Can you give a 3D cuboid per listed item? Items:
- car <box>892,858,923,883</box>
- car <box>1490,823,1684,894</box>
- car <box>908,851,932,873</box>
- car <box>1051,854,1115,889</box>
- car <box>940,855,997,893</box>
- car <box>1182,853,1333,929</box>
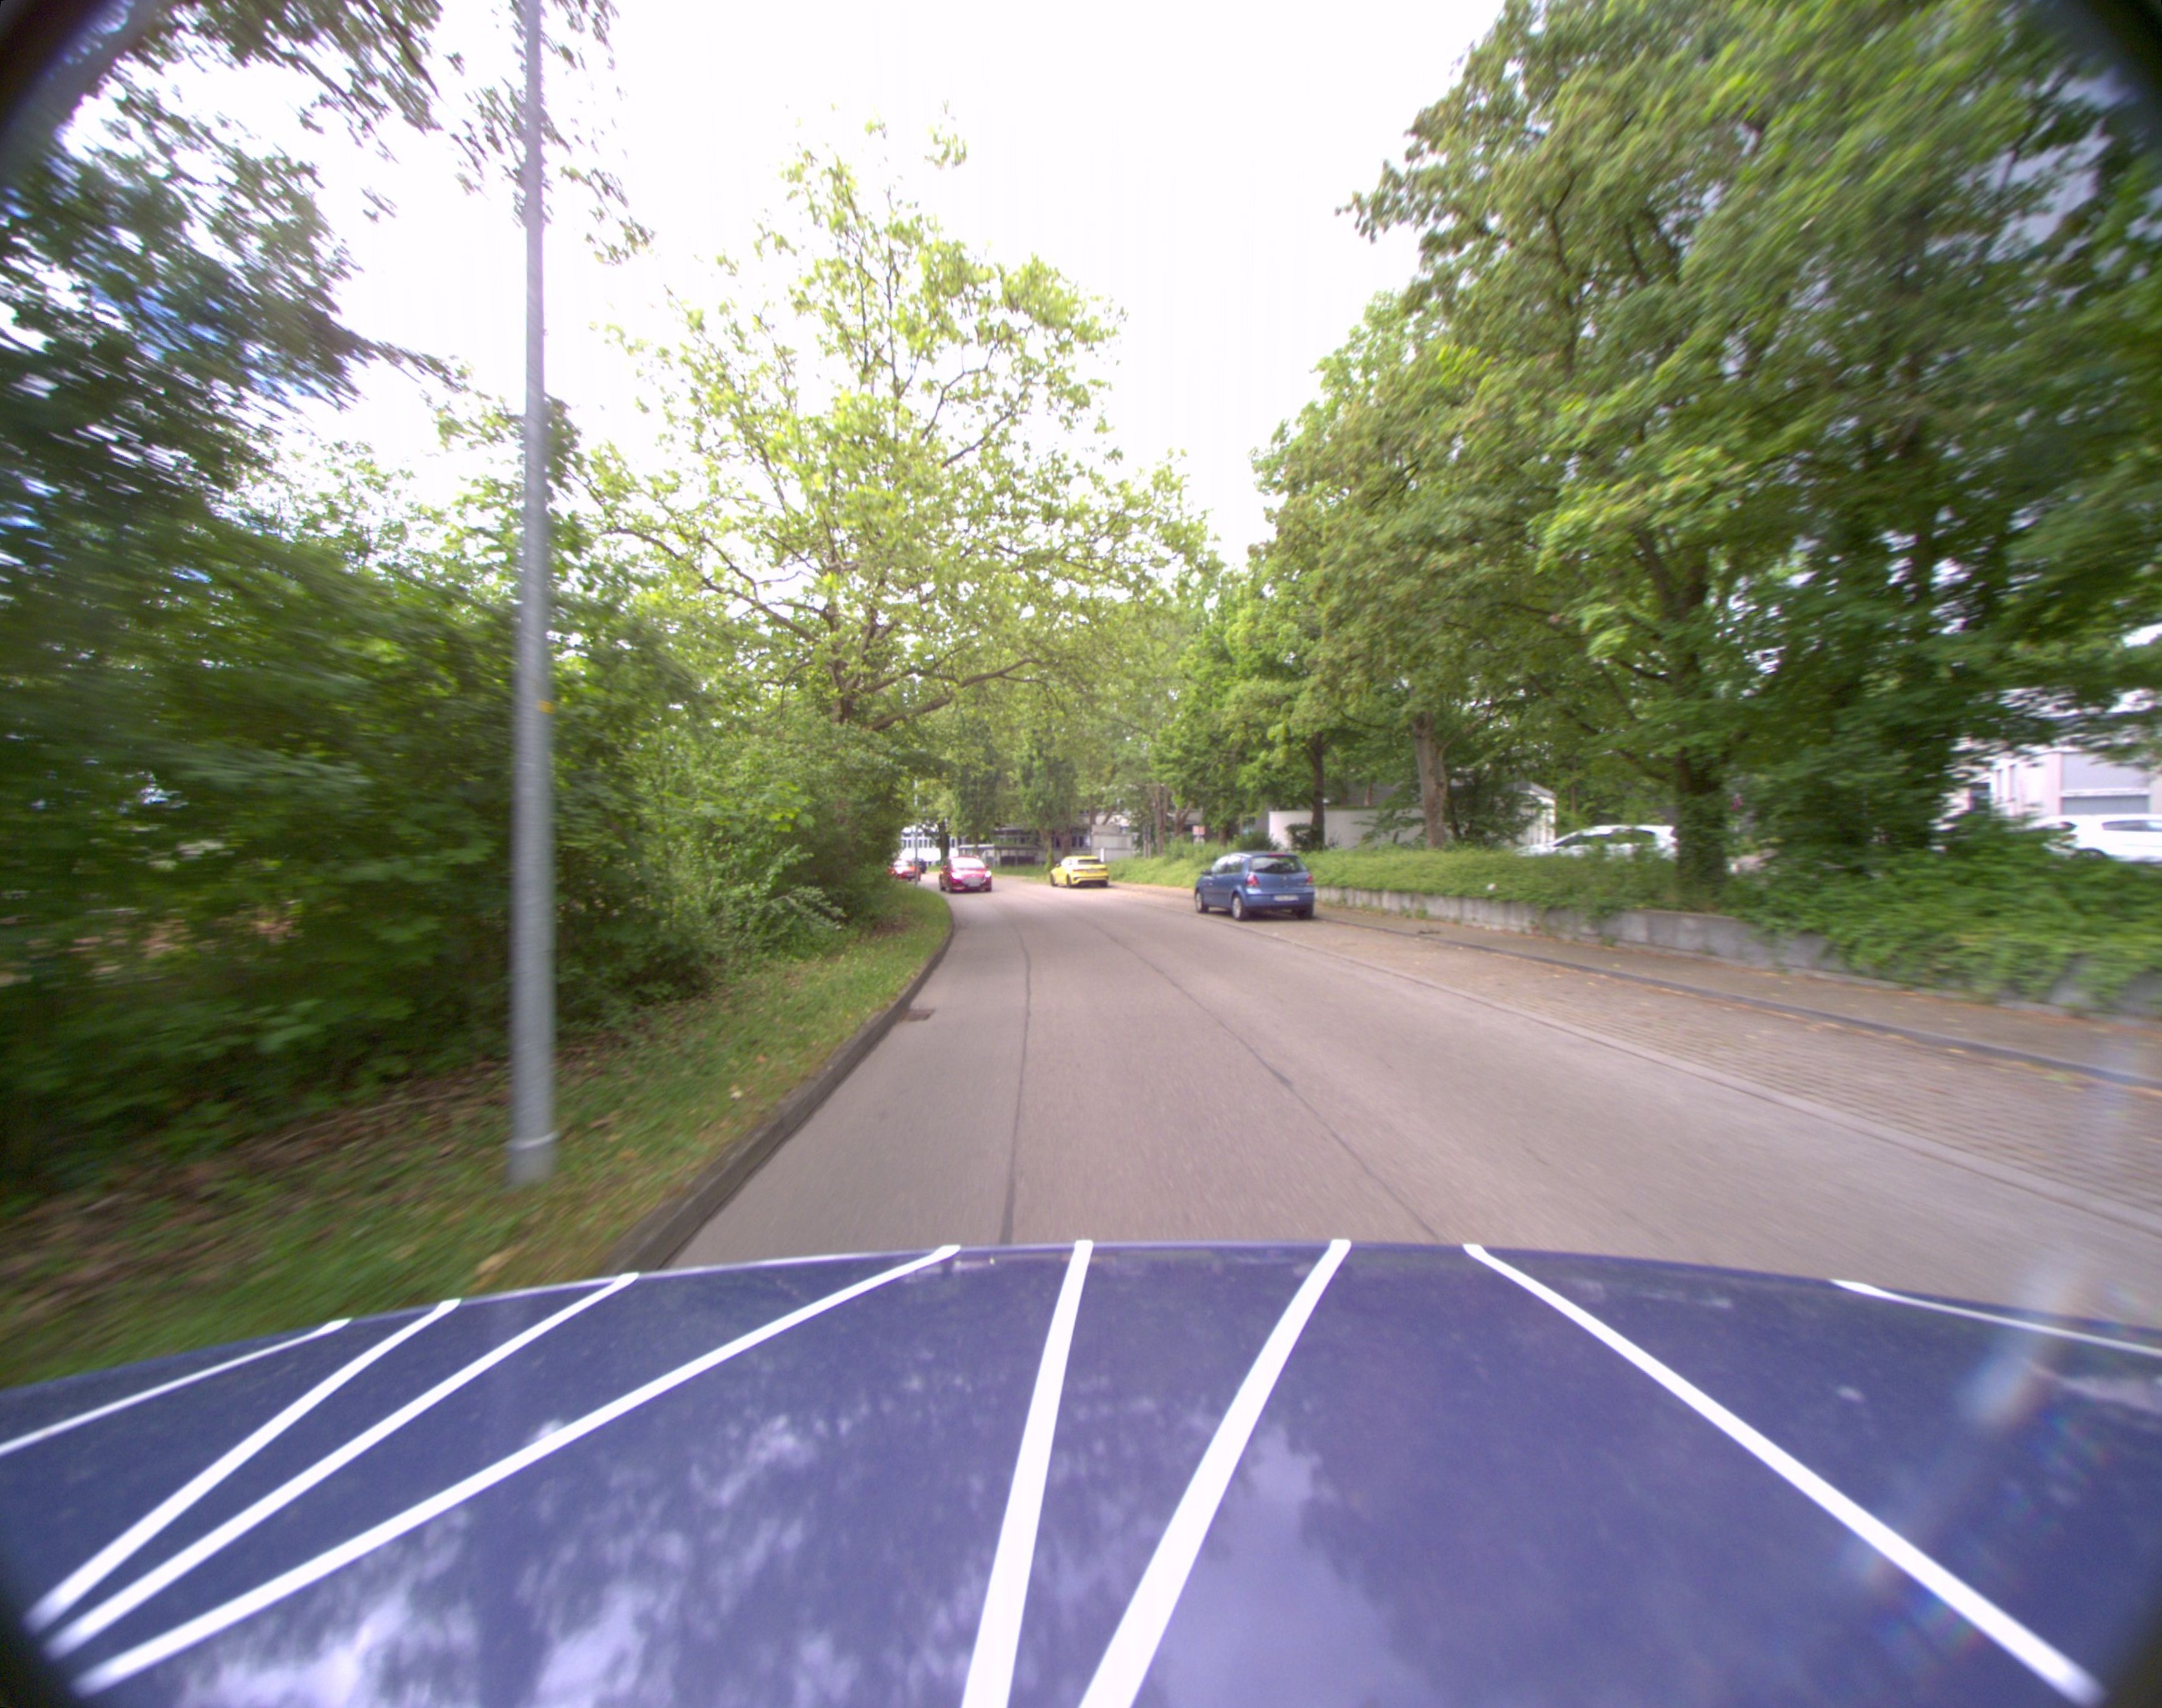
[{"bbox_3d":[-11.732,1.072,51.503,1.949,1.522,4.082,-2,0,-12],"label":"car"},{"bbox_3d":[12.958,0.097,19.575,2.004,1.629,3.801,-3,2,-45],"label":"car"},{"bbox_3d":[-14.736,0.700,69.569,2.001,1.865,3.995,-2,1,-13],"label":"car"},{"bbox_3d":[0.012,0.747,34.674,1.855,1.483,3.994,-1,0,-17],"label":"car"},{"bbox_3d":[-5.228,0.847,34.761,1.948,1.550,4.349,-2,1,-16],"label":"car"},{"bbox_3d":[3.846,0.737,17.310,1.854,1.483,3.996,-1,0,-11],"label":"car"}]
